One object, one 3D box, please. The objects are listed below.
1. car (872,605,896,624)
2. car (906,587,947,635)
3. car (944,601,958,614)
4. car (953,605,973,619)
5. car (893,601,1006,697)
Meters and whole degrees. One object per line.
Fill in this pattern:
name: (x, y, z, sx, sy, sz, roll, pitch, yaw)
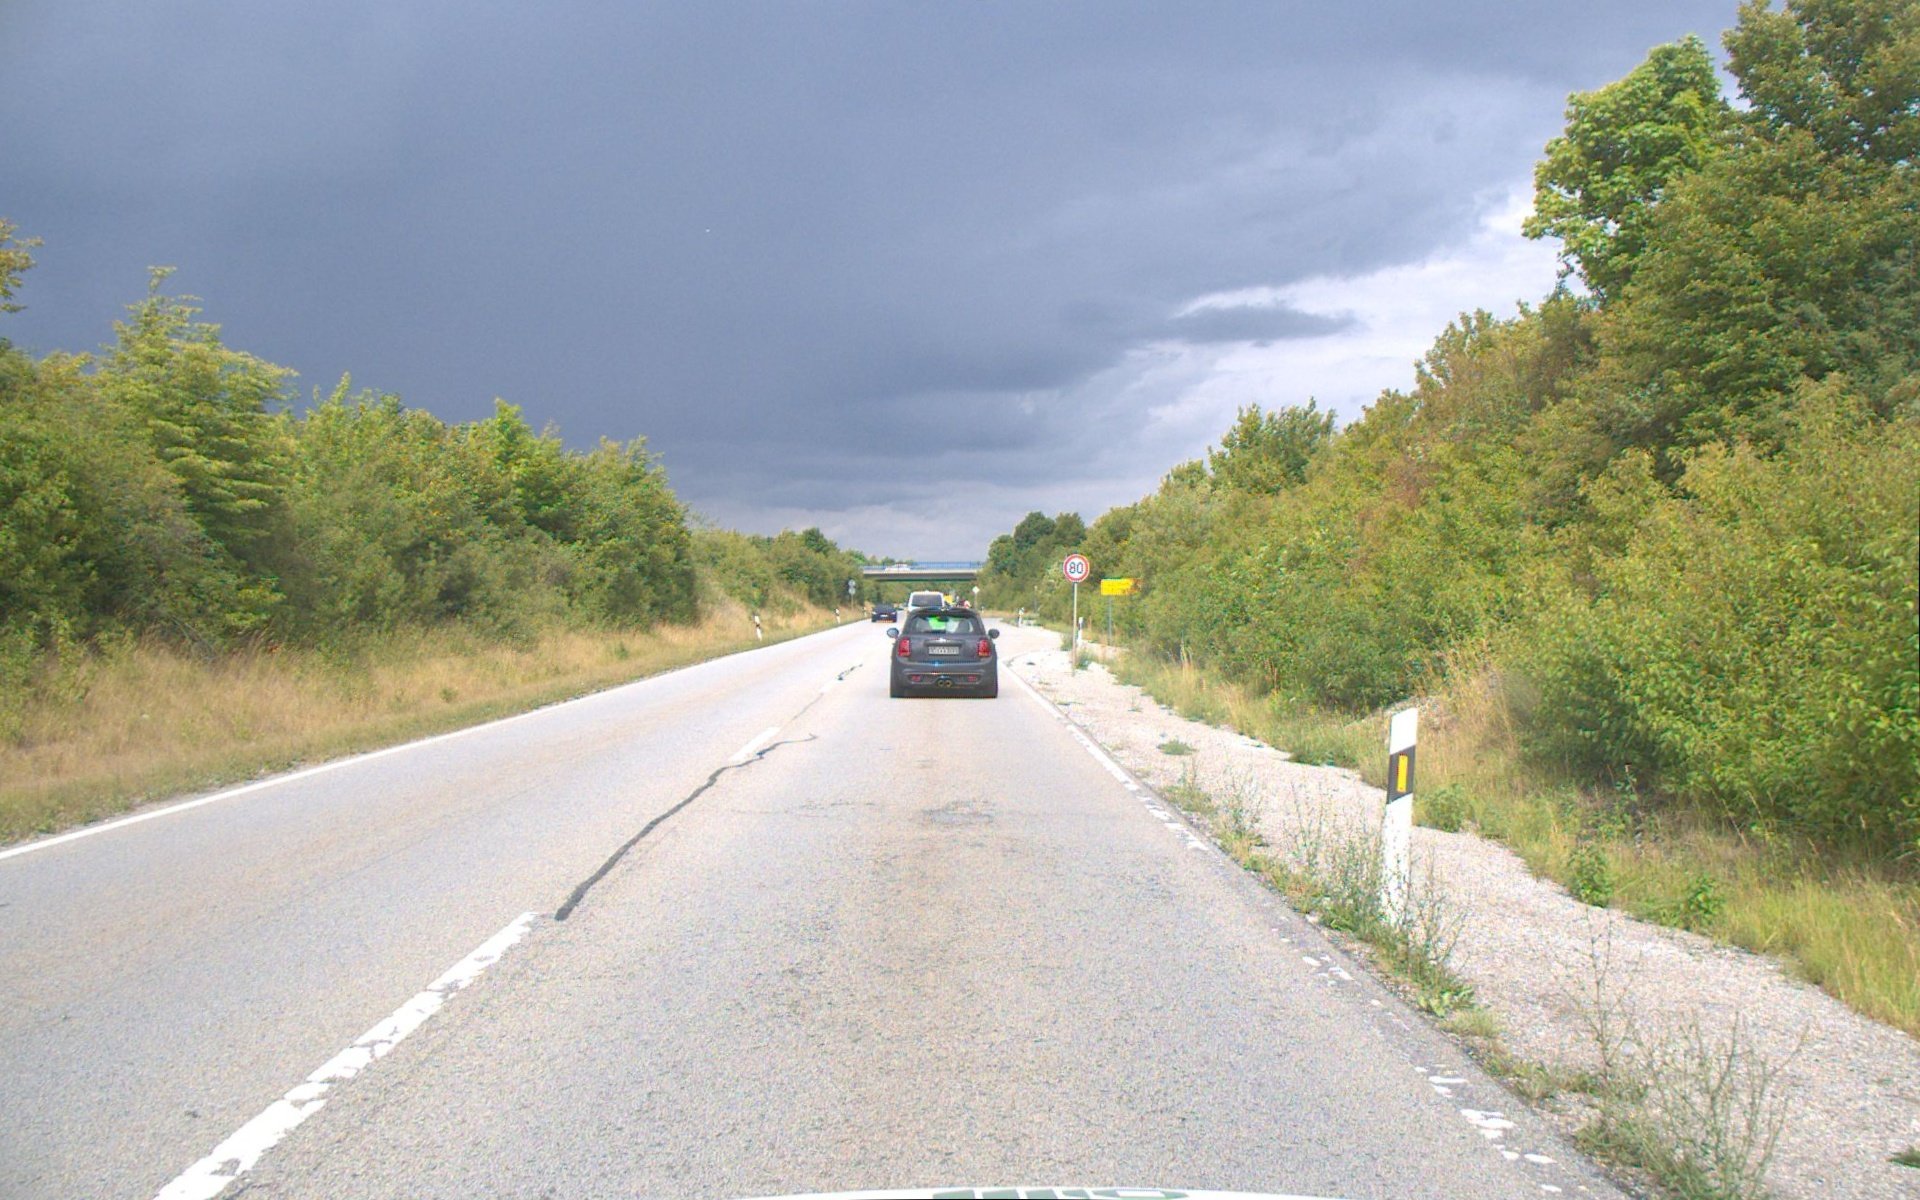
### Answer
car: (-5.533, 1.058, 121.039, 1.666, 1.353, 3.999, -1, 0, -1)
car: (-1.529, 0.504, 75.942, 1.782, 2.090, 3.999, 1, 0, -1)
car: (-1.299, 1.000, 226.041, 1.745, 1.736, 3.998, 1, 0, -3)
car: (0.341, 1.379, 188.095, 1.954, 1.579, 3.997, 1, 0, -3)
car: (-0.197, 0.760, 27.417, 1.721, 1.452, 3.999, 1, 0, -1)
